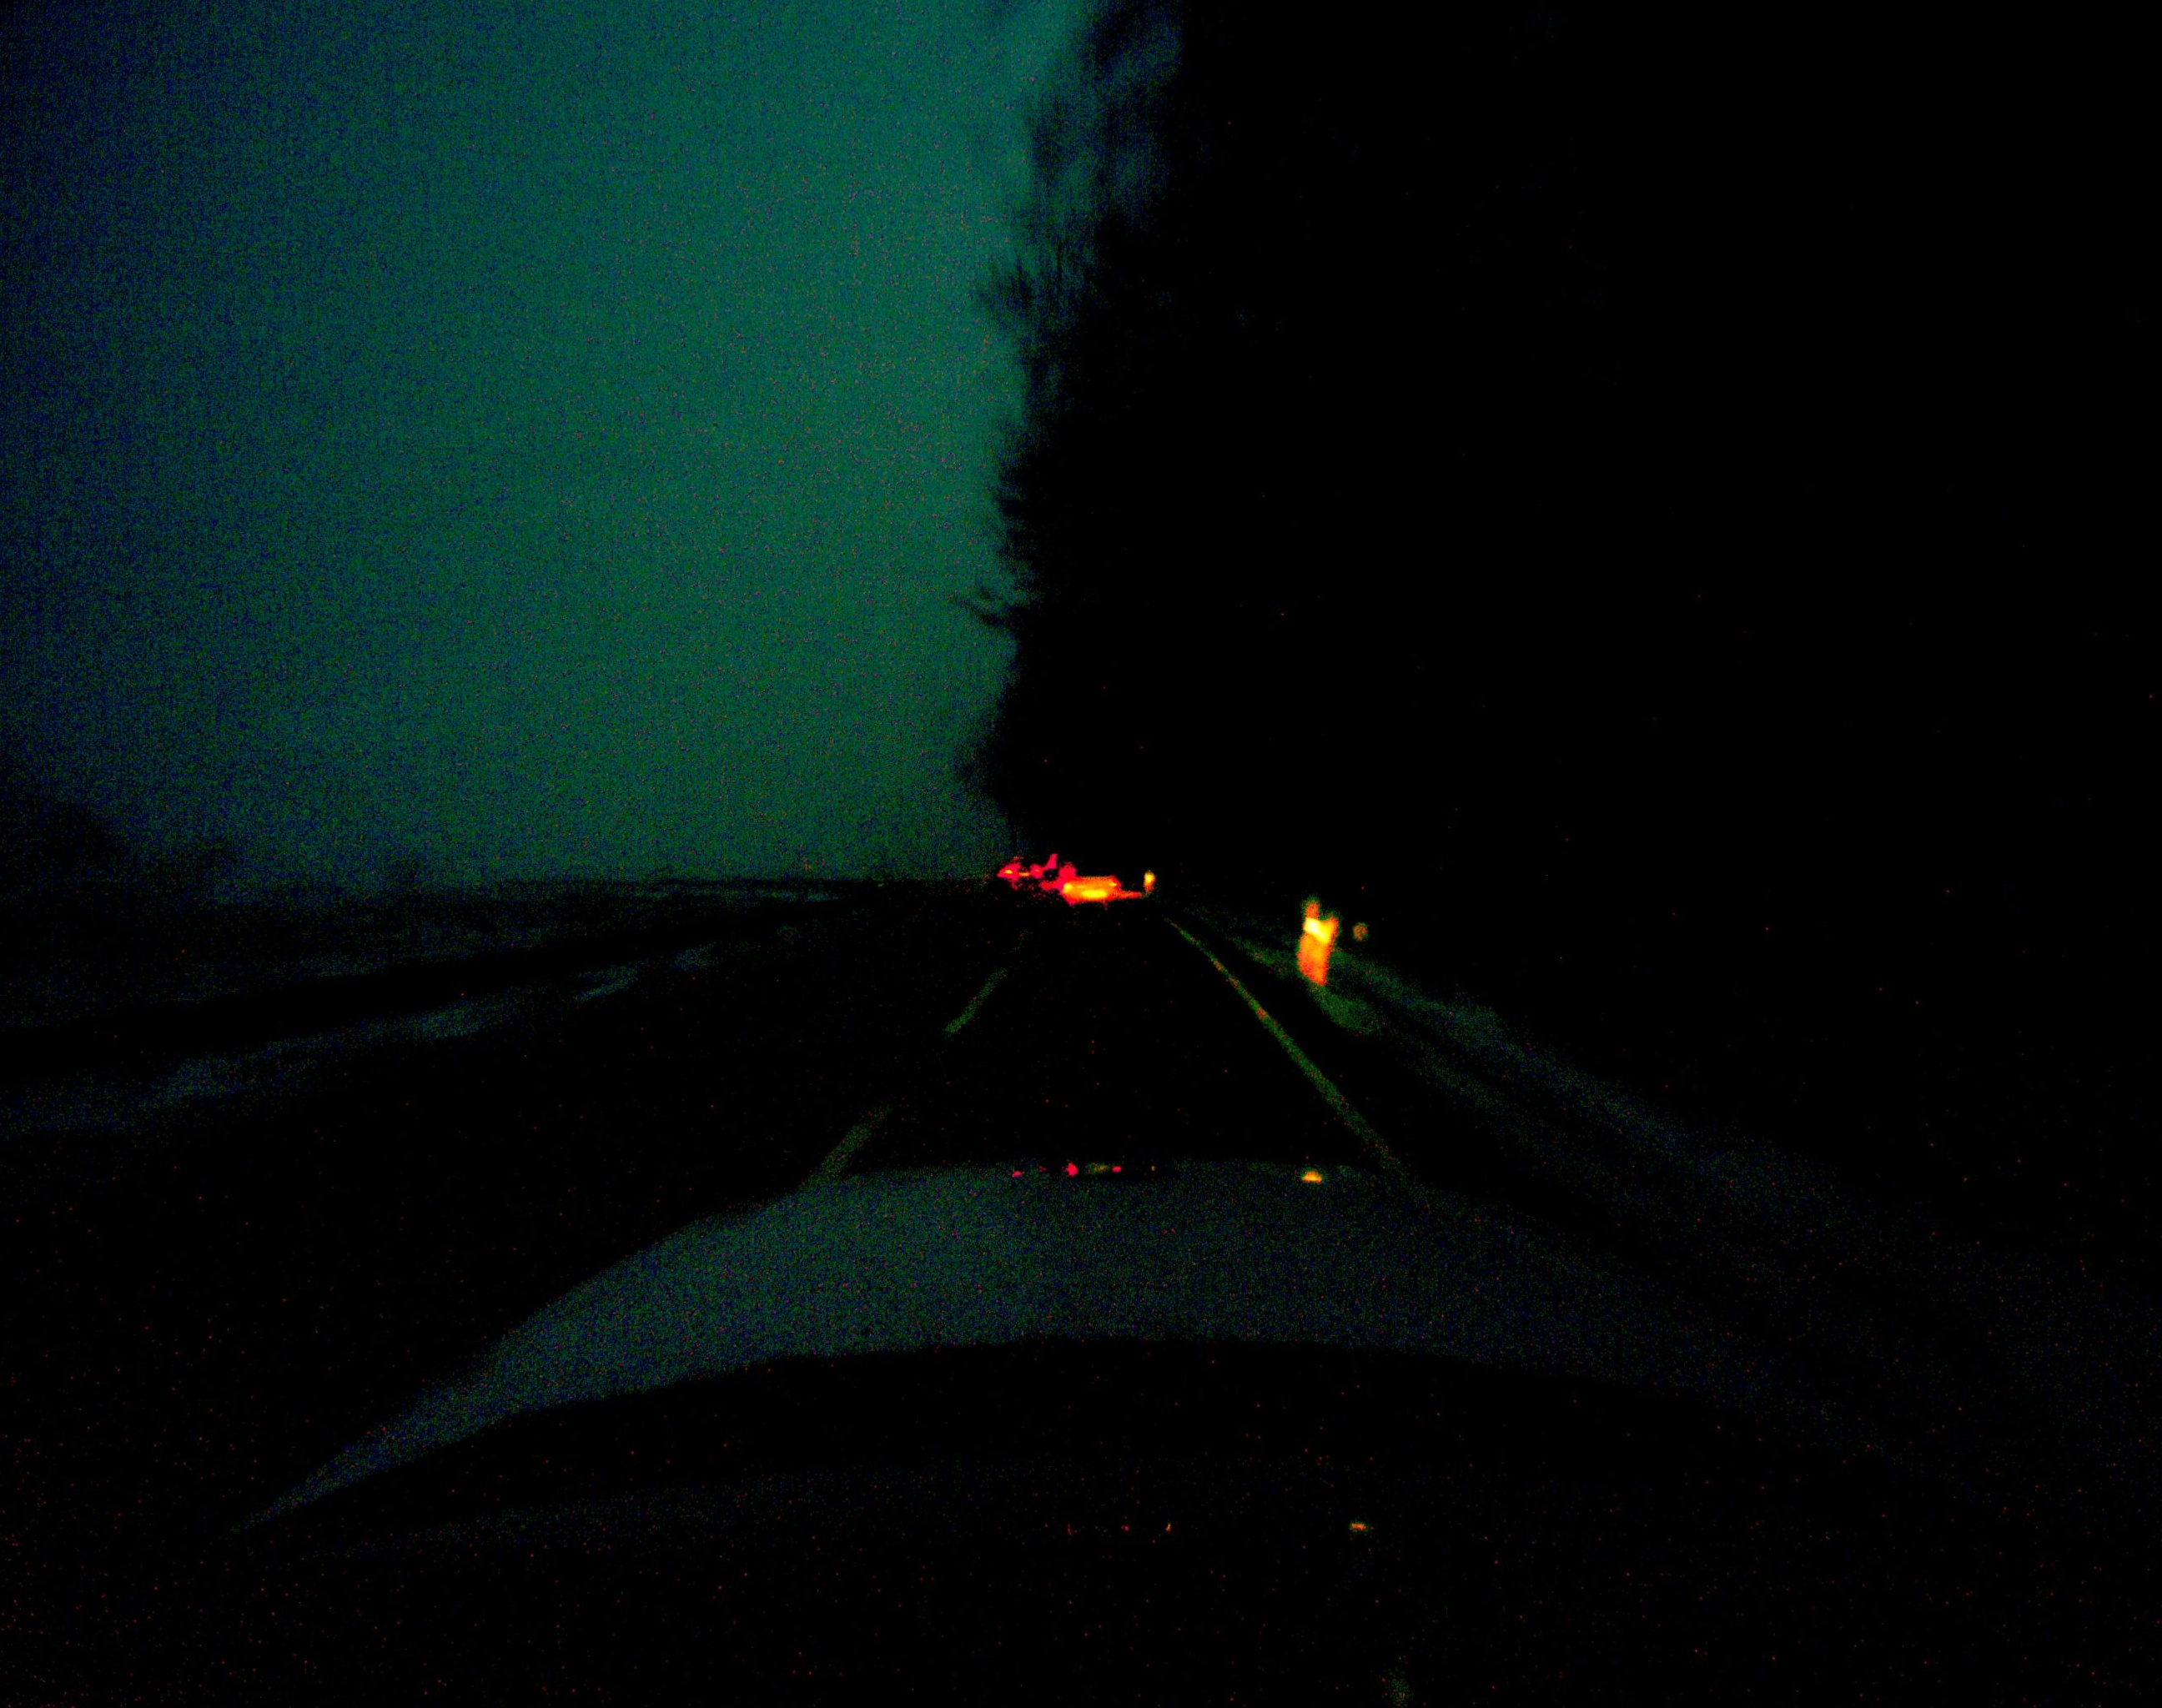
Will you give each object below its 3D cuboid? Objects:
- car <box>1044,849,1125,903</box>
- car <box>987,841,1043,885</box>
[{"bbox_3d":[0.010,0.603,23.977,1.943,1.381,3.992,3,-1,-5],"label":"car"},{"bbox_3d":[-2.975,0.390,35.857,1.995,1.783,3.984,2,0,-11],"label":"car"}]
